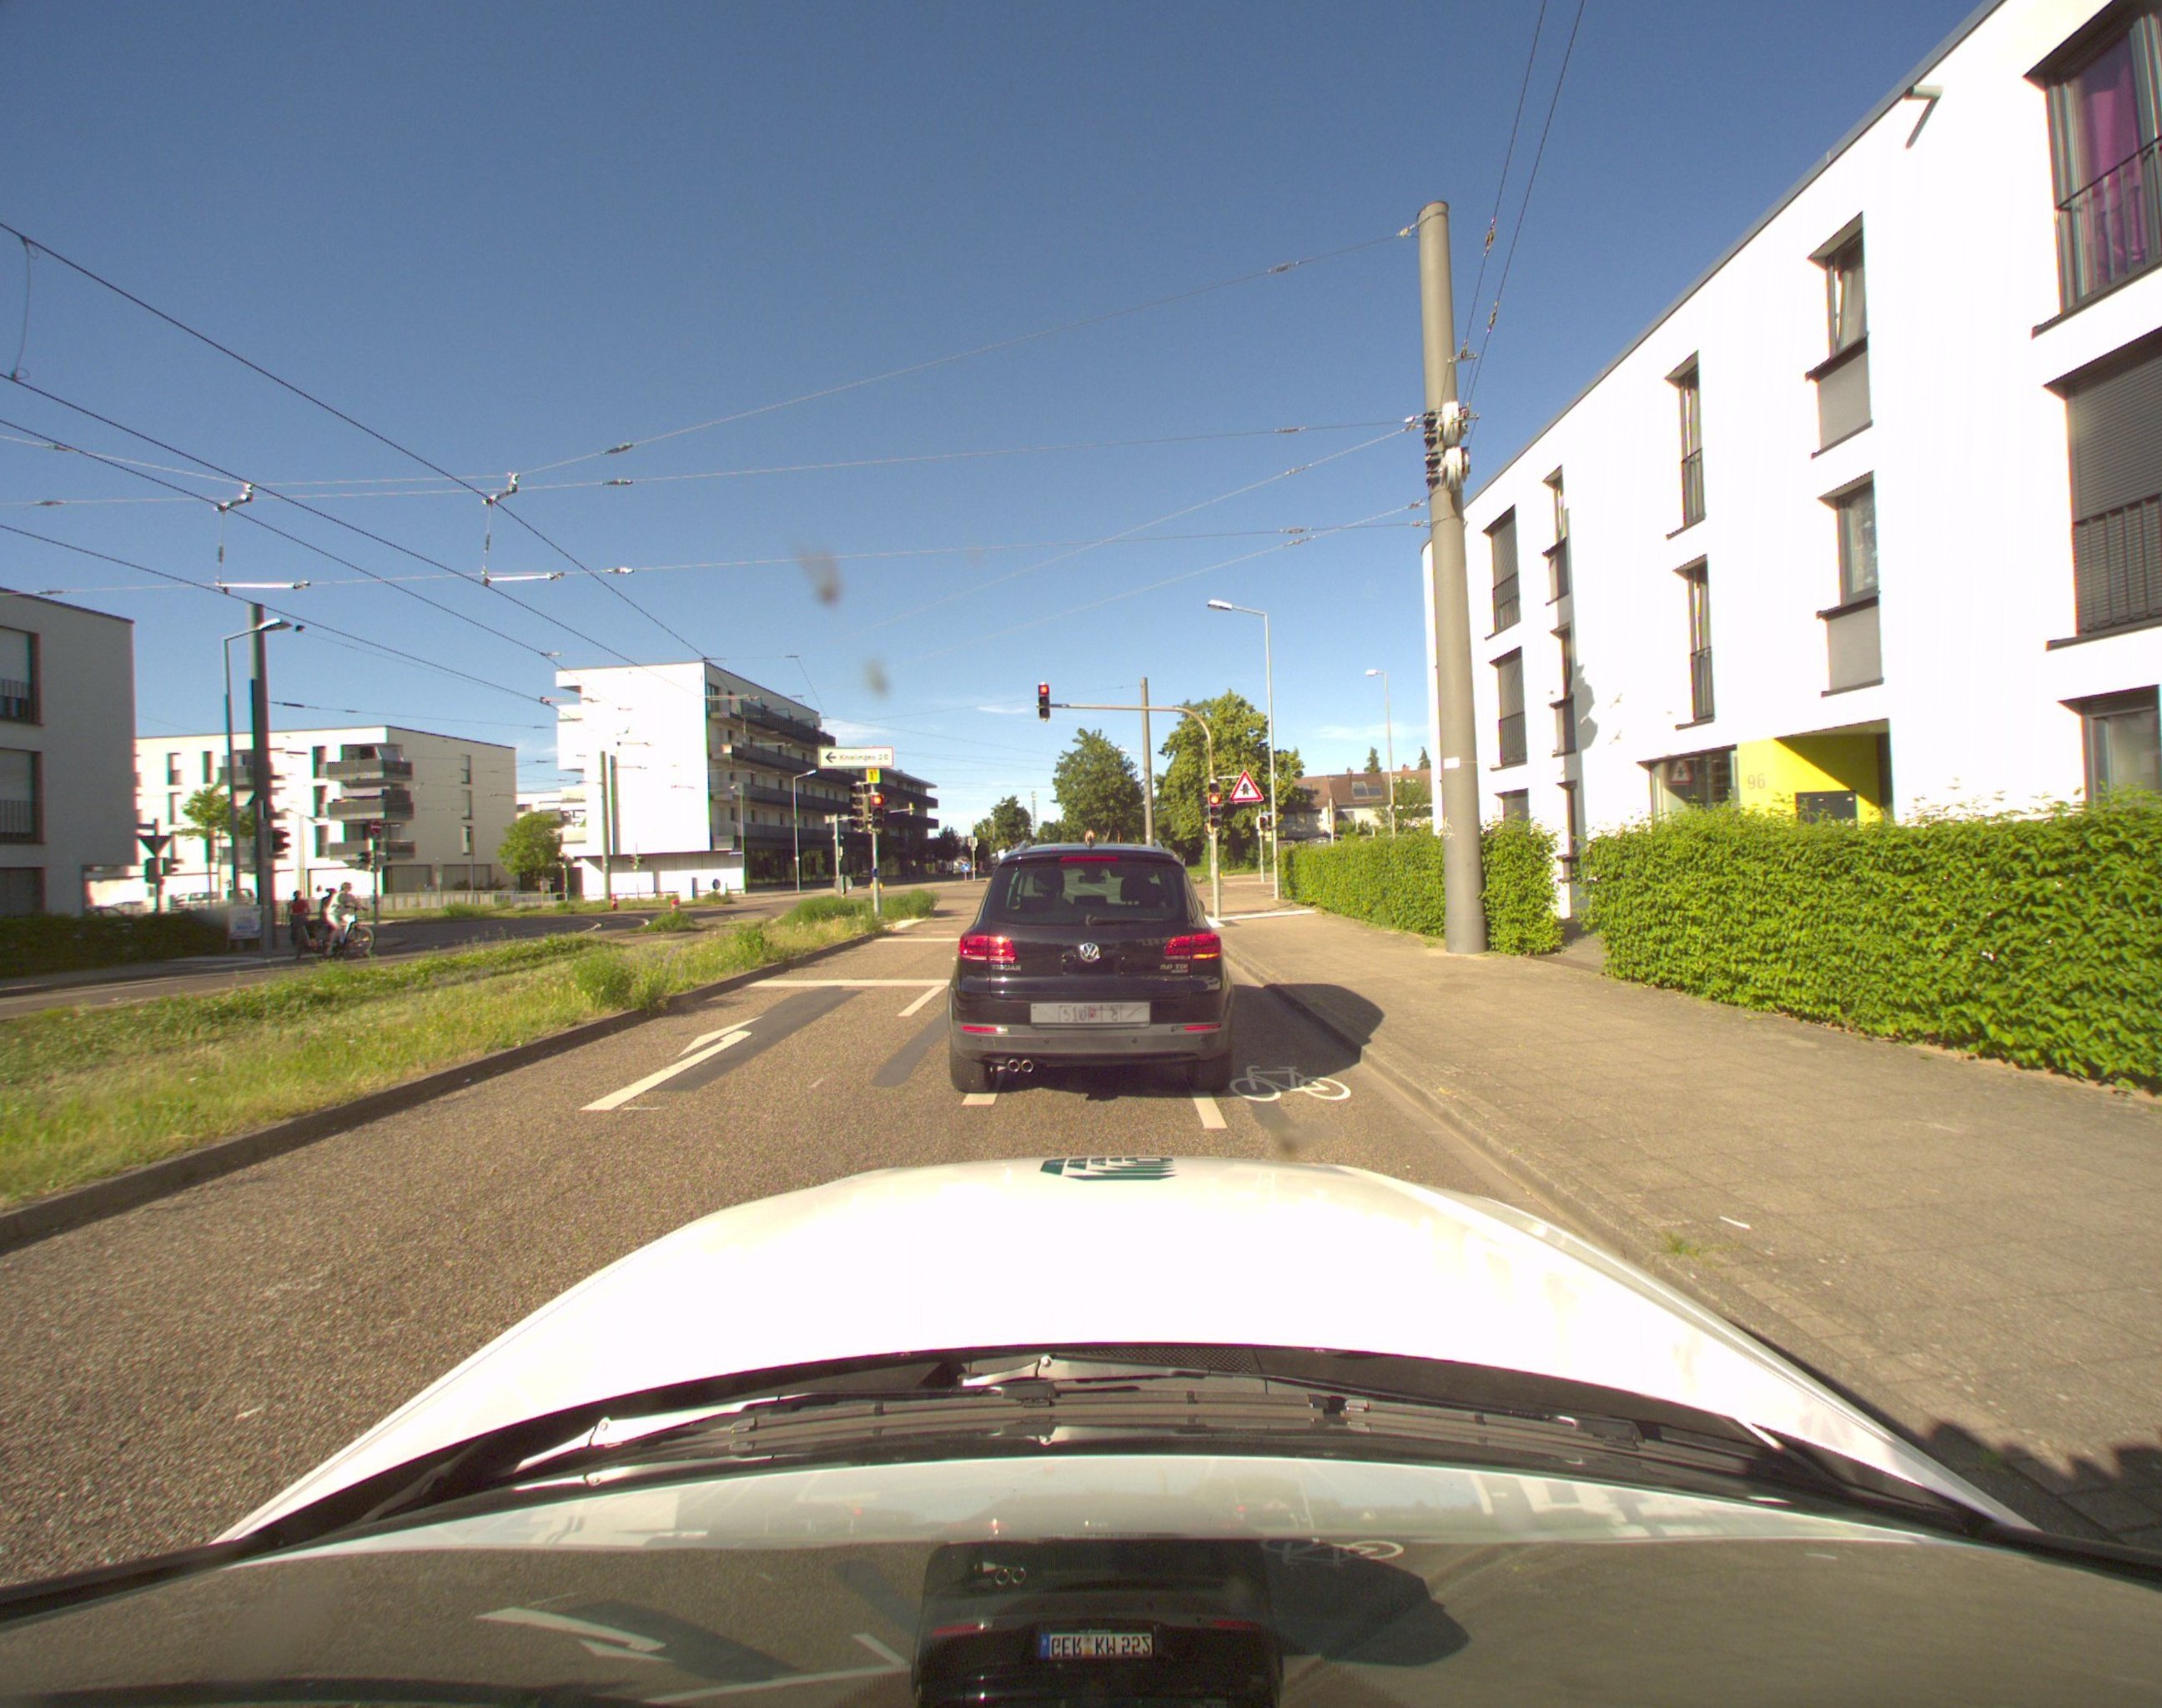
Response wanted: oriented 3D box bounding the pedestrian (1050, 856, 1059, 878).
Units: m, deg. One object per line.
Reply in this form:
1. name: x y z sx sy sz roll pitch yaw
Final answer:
1. pedestrian: -1.937 0.955 59.411 0.600 1.565 0.530 -1 0 6

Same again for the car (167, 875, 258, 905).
1. car: -58.717 2.419 55.114 3.974 1.838 2.000 -1 0 0

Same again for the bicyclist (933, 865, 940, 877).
1. bicyclist: -15.008 1.725 84.577 0.472 1.223 0.713 -1 0 5

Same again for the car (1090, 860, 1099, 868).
1. car: 2.824 2.151 173.973 1.648 1.640 4.004 -1 0 4

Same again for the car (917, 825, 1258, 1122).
1. car: 0.057 0.676 6.600 1.899 1.643 4.000 -1 0 0

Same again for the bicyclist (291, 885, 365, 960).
1. bicyclist: -17.495 1.565 18.934 0.901 1.630 0.981 -1 0 24

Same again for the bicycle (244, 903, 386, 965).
1. bicycle: -18.015 1.832 19.125 3.650 1.174 1.005 1 0 23

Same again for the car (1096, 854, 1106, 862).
1. car: 3.618 0.747 147.112 1.745 1.387 4.000 -1 0 0

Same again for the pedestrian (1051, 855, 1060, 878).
1. pedestrian: -1.862 0.913 60.078 0.600 1.640 0.530 -1 0 6

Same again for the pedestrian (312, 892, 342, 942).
1. pedestrian: -22.712 1.888 24.539 0.561 1.464 0.605 -1 0 -36

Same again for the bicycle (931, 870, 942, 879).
1. bicycle: -14.999 2.119 84.640 0.493 0.848 2.082 -1 0 6

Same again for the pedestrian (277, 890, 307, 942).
1. pedestrian: -23.363 1.831 24.118 0.562 1.464 0.734 -1 0 -40
